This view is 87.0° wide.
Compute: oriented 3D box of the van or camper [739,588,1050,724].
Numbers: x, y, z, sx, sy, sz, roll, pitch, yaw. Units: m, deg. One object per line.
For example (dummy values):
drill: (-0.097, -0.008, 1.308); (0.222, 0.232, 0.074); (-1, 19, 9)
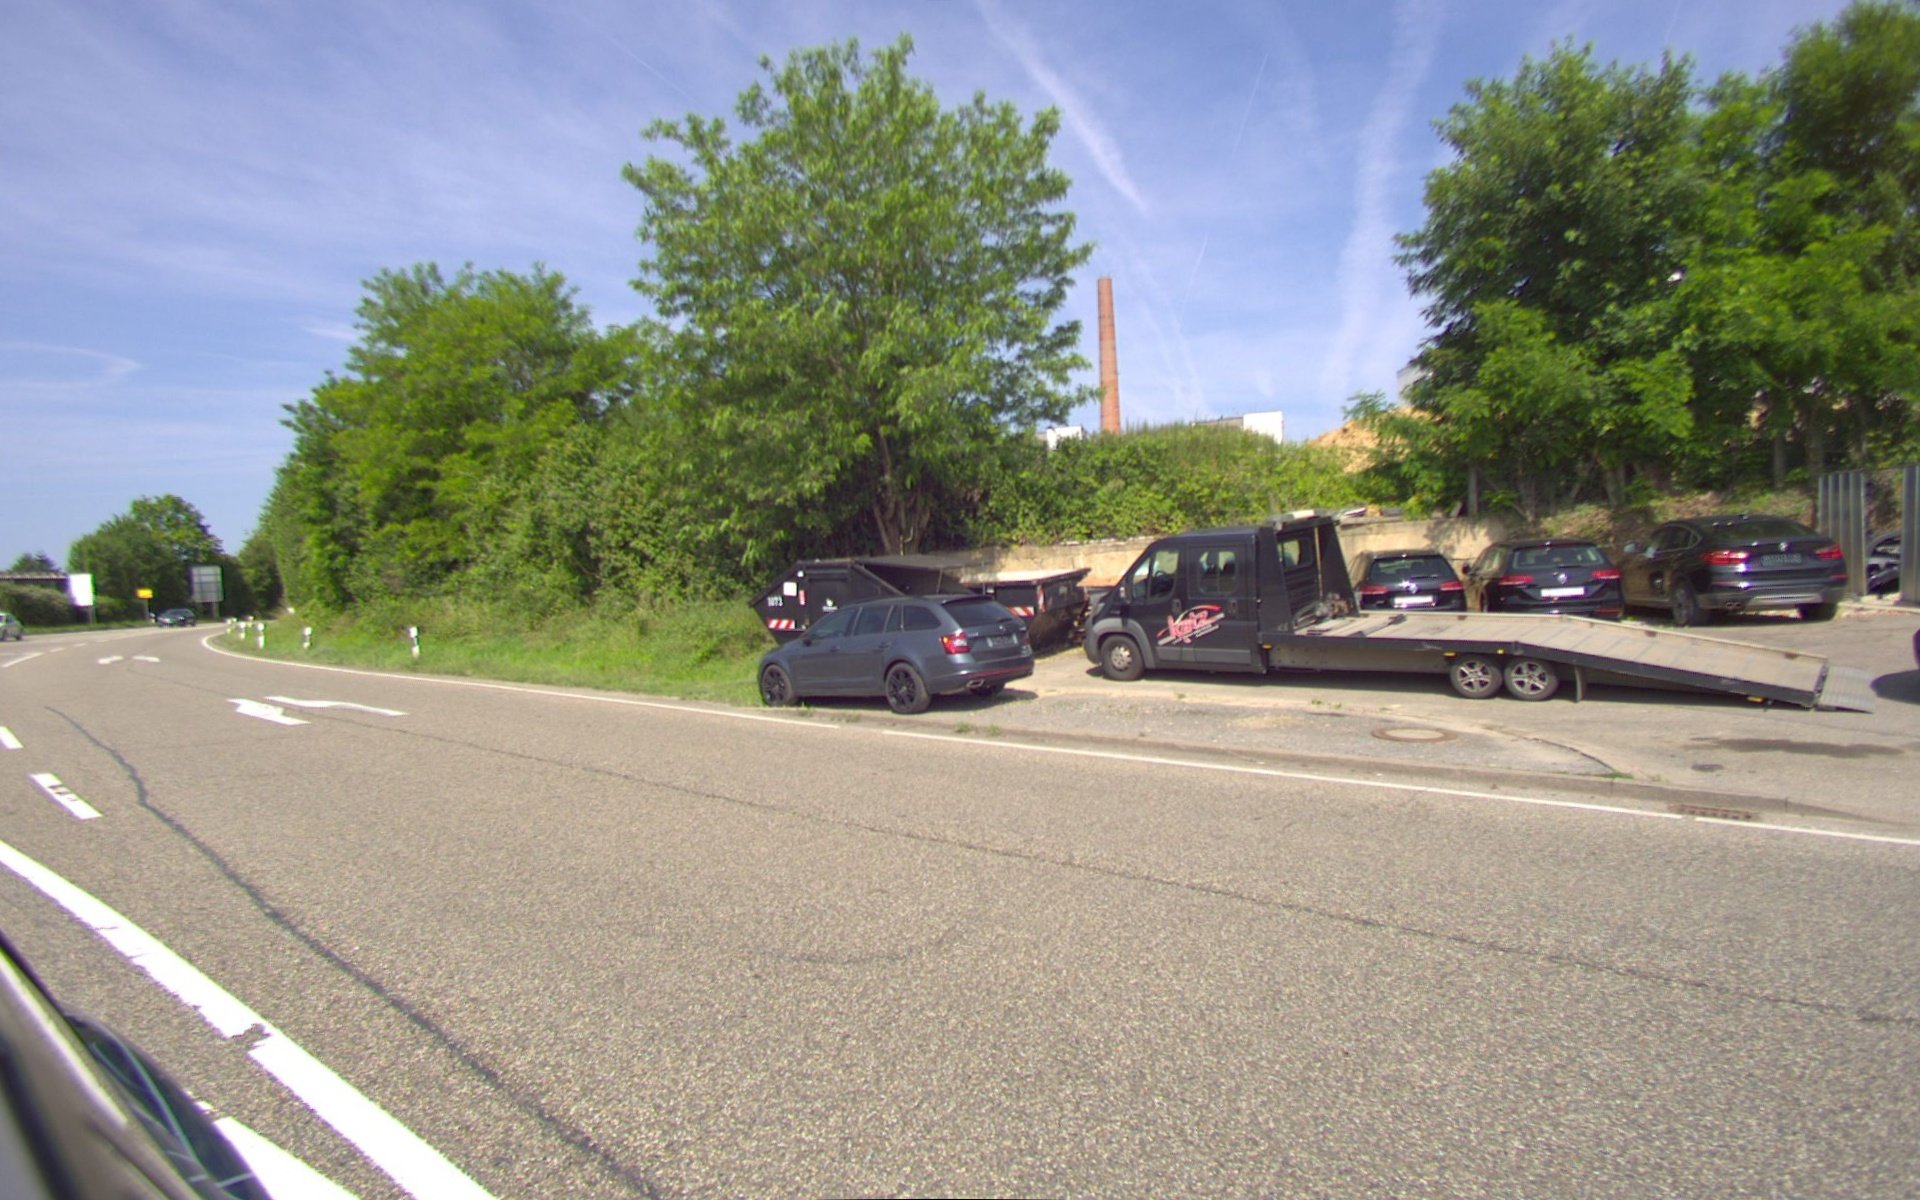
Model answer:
van or camper: (-1.048, 0.683, 13.995); (4.467, 1.535, 1.622); (-1, 2, 43)

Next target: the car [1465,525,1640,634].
car: (9.180, -0.332, 15.986); (1.727, 1.480, 3.647); (-2, 1, 21)

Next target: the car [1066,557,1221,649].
car: (3.508, 0.012, 18.846); (1.710, 1.522, 3.635); (-2, 1, 29)

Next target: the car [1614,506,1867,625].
car: (11.687, -0.510, 15.476); (1.723, 1.541, 3.654); (-2, 1, 15)

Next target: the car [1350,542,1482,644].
car: (7.500, -0.145, 16.936); (1.727, 1.480, 3.647); (-2, 1, 21)

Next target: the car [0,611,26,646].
car: (-48.355, 1.456, 50.182); (1.837, 1.653, 4.436); (-3, 1, -27)

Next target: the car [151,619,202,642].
car: (-64.932, 2.512, 83.943); (1.837, 1.653, 4.435); (-3, 1, -16)

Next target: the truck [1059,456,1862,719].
truck: (5.509, -0.146, 12.867); (8.805, 2.313, 2.306); (-1, 6, 44)

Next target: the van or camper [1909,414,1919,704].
van or camper: (10.937, -0.484, 7.079); (2.127, 2.517, 5.962); (-7, 4, -37)
